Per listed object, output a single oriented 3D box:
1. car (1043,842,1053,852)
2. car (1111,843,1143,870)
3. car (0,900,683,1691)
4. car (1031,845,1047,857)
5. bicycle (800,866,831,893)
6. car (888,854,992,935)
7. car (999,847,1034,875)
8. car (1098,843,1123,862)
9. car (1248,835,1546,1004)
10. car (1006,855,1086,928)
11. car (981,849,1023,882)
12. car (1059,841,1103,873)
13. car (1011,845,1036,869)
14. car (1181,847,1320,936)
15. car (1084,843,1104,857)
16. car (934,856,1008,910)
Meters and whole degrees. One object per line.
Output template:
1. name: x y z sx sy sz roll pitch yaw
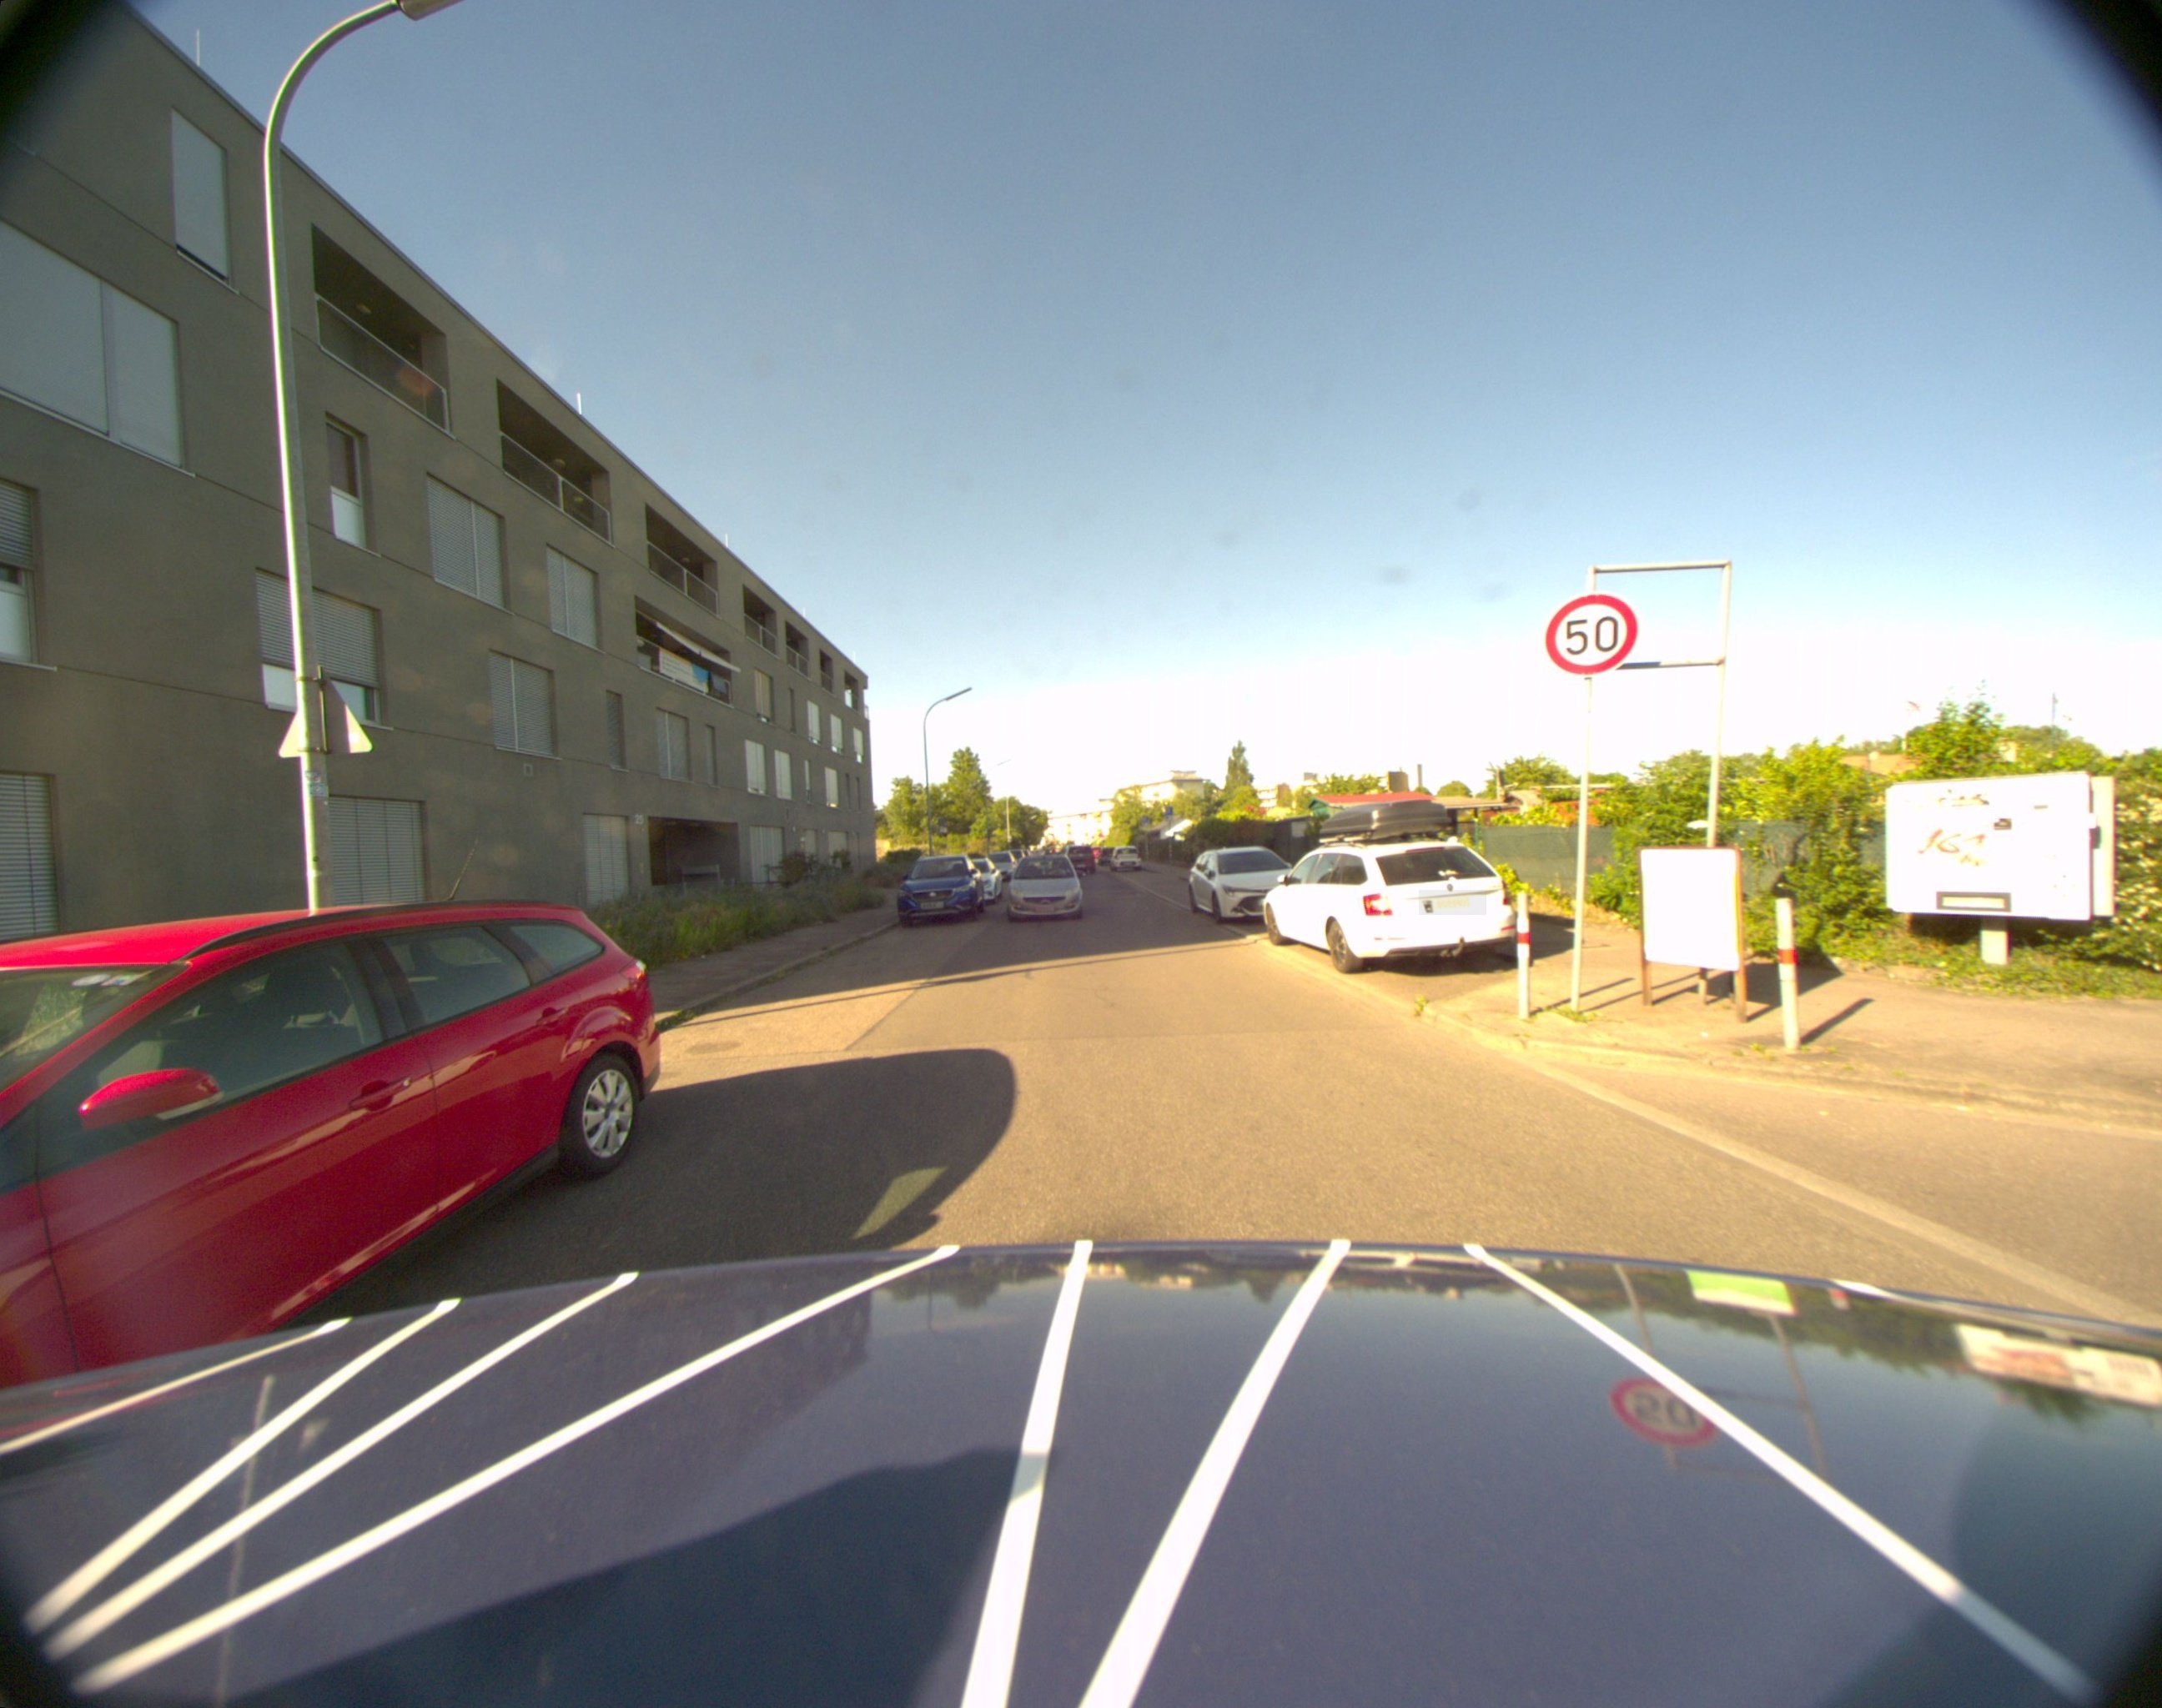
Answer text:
1. car: -6.775 -1.397 157.105 1.999 2.002 3.999 -3 1 -2
2. car: 2.722 0.144 45.594 1.531 1.479 3.400 -3 1 -2
3. car: -3.316 1.107 2.385 1.824 1.491 4.450 -3 1 -2
4. car: -5.513 -0.424 99.873 1.873 1.517 4.154 -3 1 -1
5. bicycle: -11.408 1.080 32.726 0.553 1.055 1.842 -3 1 2
6. car: -3.386 0.890 19.129 1.822 1.590 4.625 -5 1 -2
7. car: -4.112 0.409 49.158 1.749 1.558 4.802 -4 1 0
8. car: 2.427 -0.131 63.215 1.700 1.415 4.515 -5 1 -2
9. car: 3.617 0.633 9.736 1.700 1.504 4.516 -5 1 -2
10. car: -0.801 0.808 18.406 1.679 1.440 3.999 -3 1 -1
11. car: -4.111 0.551 40.122 1.711 1.517 4.154 -4 1 -1
12. car: -0.065 0.170 45.232 1.948 1.717 4.834 -2 1 -7
13. car: -4.444 0.220 59.523 1.711 1.696 4.348 -5 1 -3
14. car: 3.402 0.660 16.158 1.751 1.437 4.540 -6 1 -1
15. car: 1.393 -0.444 81.334 1.700 1.421 4.383 -3 1 -4
16. car: -3.507 0.885 25.091 1.749 1.421 4.584 -4 1 -1
